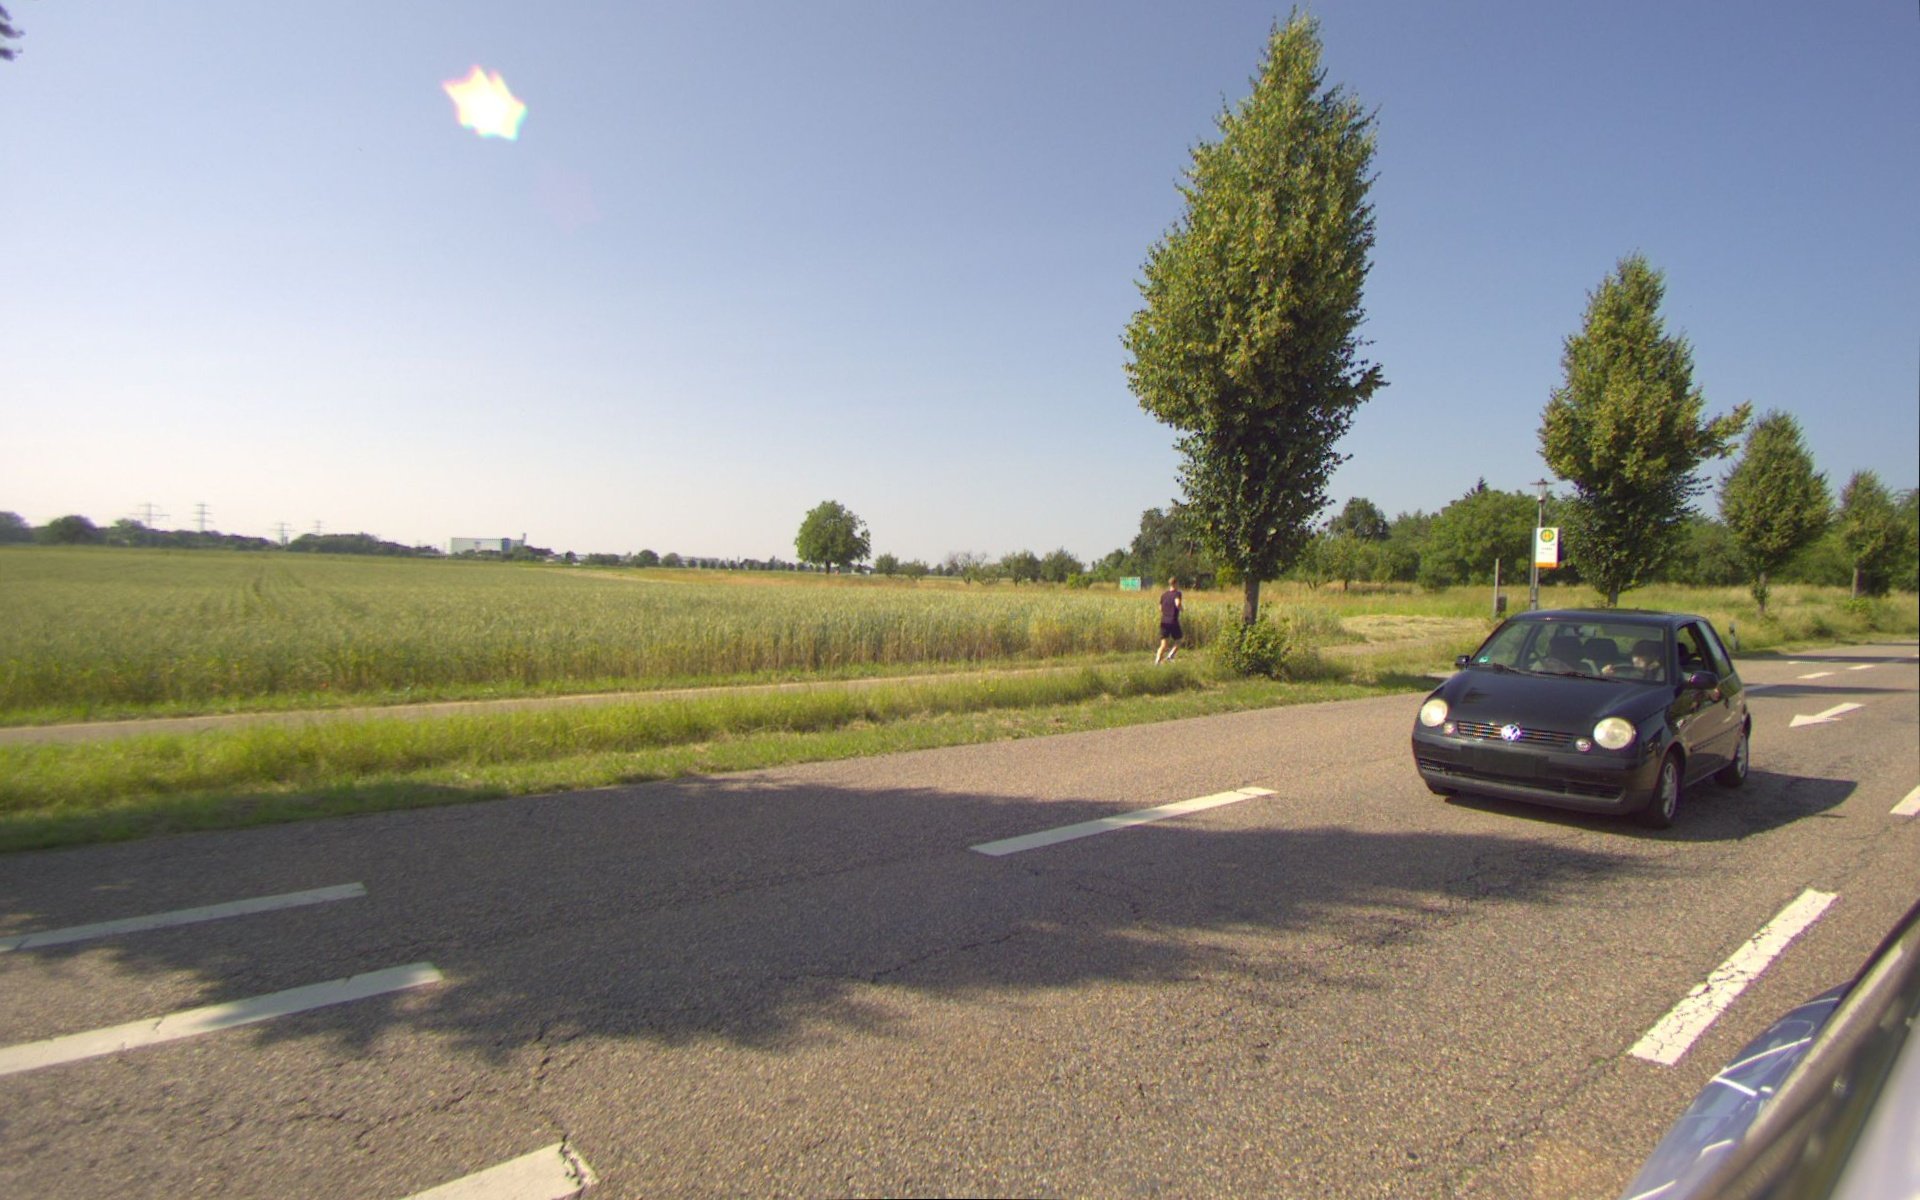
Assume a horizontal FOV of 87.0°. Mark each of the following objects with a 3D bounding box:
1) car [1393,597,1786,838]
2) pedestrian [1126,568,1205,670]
[{"bbox_3d":[5.036,0.715,7.927,3.558,1.451,1.628,0,0,-41],"label":"car"},{"bbox_3d":[3.890,0.338,19.136,1.174,1.862,0.903,1,1,-43],"label":"pedestrian"}]
